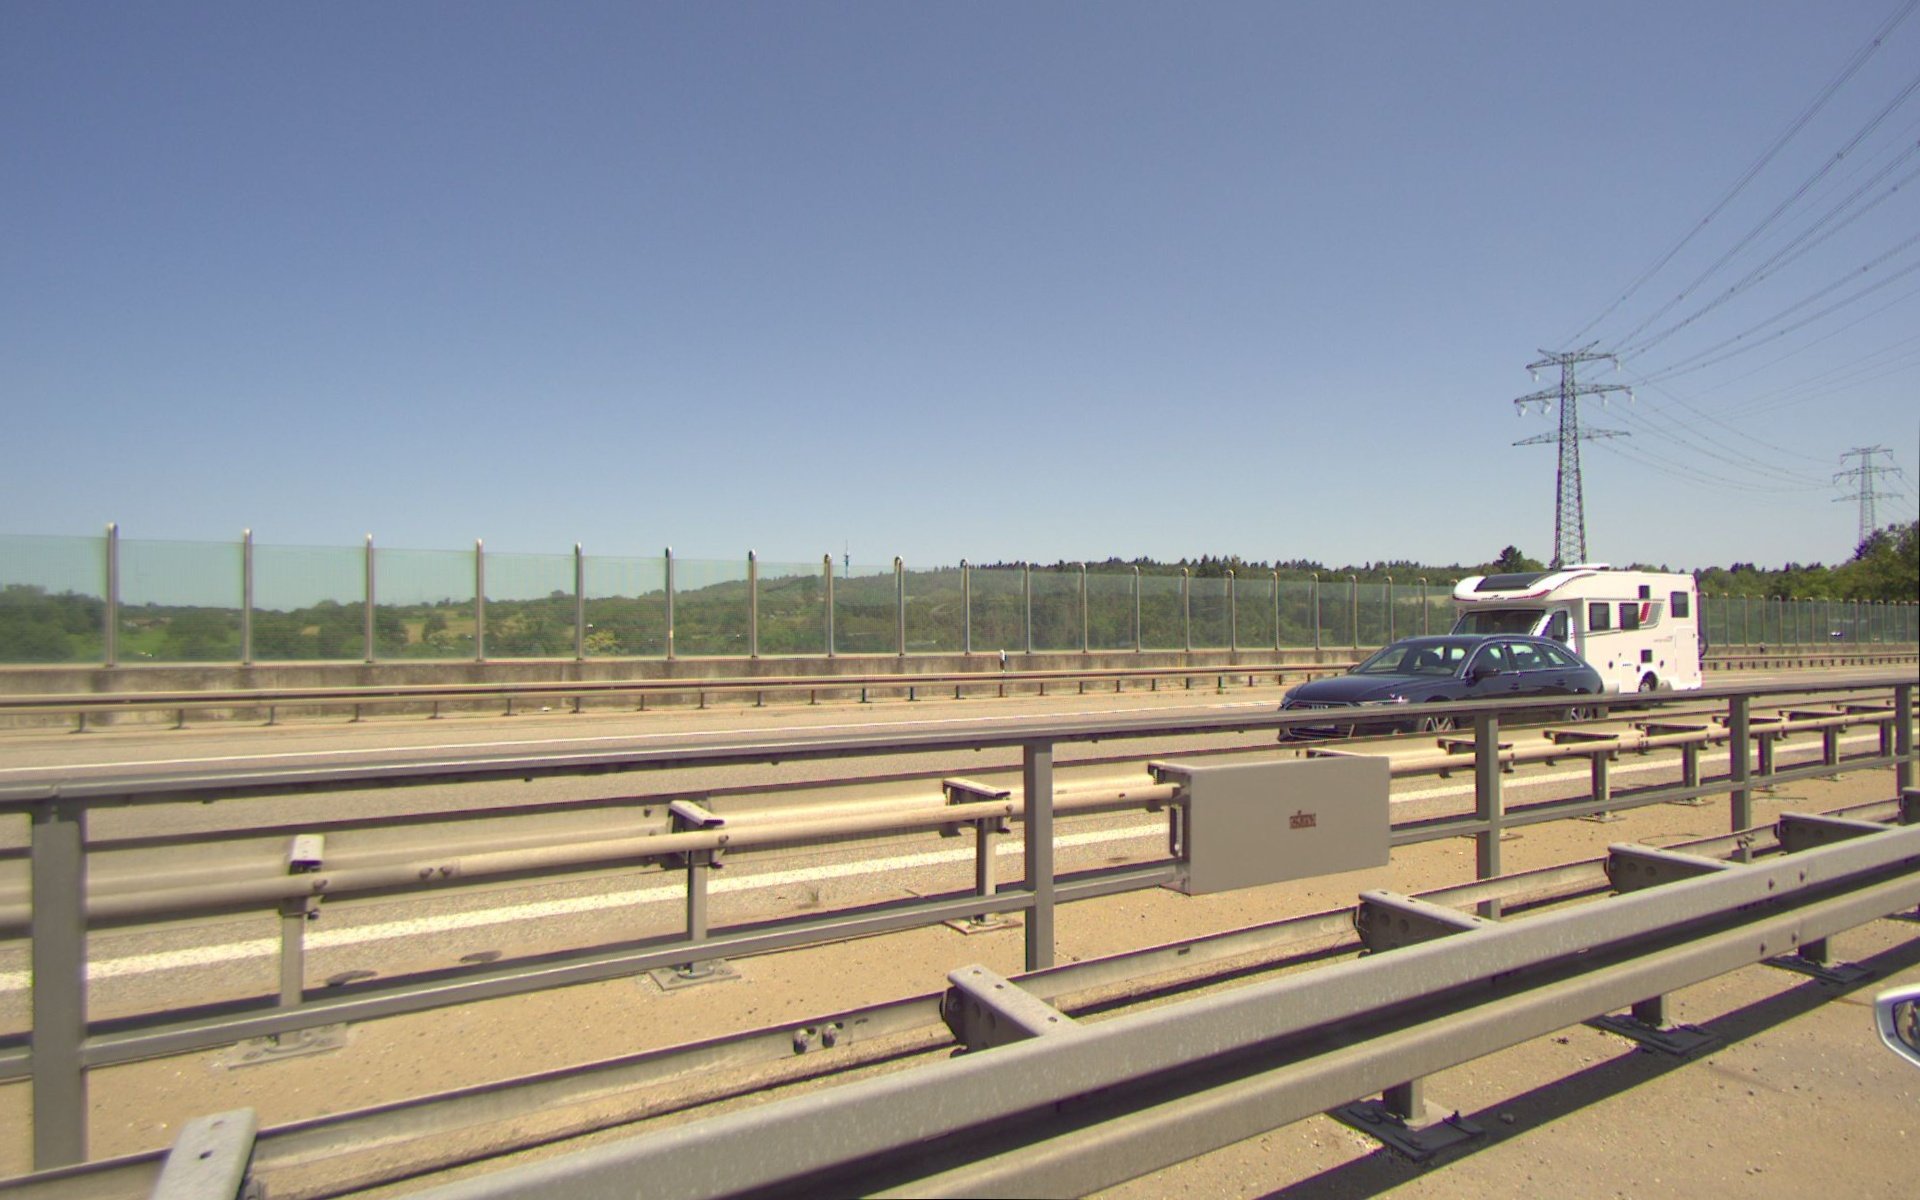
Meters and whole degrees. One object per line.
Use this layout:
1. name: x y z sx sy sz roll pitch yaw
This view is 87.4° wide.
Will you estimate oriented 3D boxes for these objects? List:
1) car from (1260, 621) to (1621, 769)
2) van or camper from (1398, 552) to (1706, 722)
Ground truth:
1. car: 5.989 1.092 12.427 4.372 1.551 1.859 1 -4 -30
2. van or camper: 12.437 0.774 20.934 6.943 3.063 2.412 1 -3 -30
